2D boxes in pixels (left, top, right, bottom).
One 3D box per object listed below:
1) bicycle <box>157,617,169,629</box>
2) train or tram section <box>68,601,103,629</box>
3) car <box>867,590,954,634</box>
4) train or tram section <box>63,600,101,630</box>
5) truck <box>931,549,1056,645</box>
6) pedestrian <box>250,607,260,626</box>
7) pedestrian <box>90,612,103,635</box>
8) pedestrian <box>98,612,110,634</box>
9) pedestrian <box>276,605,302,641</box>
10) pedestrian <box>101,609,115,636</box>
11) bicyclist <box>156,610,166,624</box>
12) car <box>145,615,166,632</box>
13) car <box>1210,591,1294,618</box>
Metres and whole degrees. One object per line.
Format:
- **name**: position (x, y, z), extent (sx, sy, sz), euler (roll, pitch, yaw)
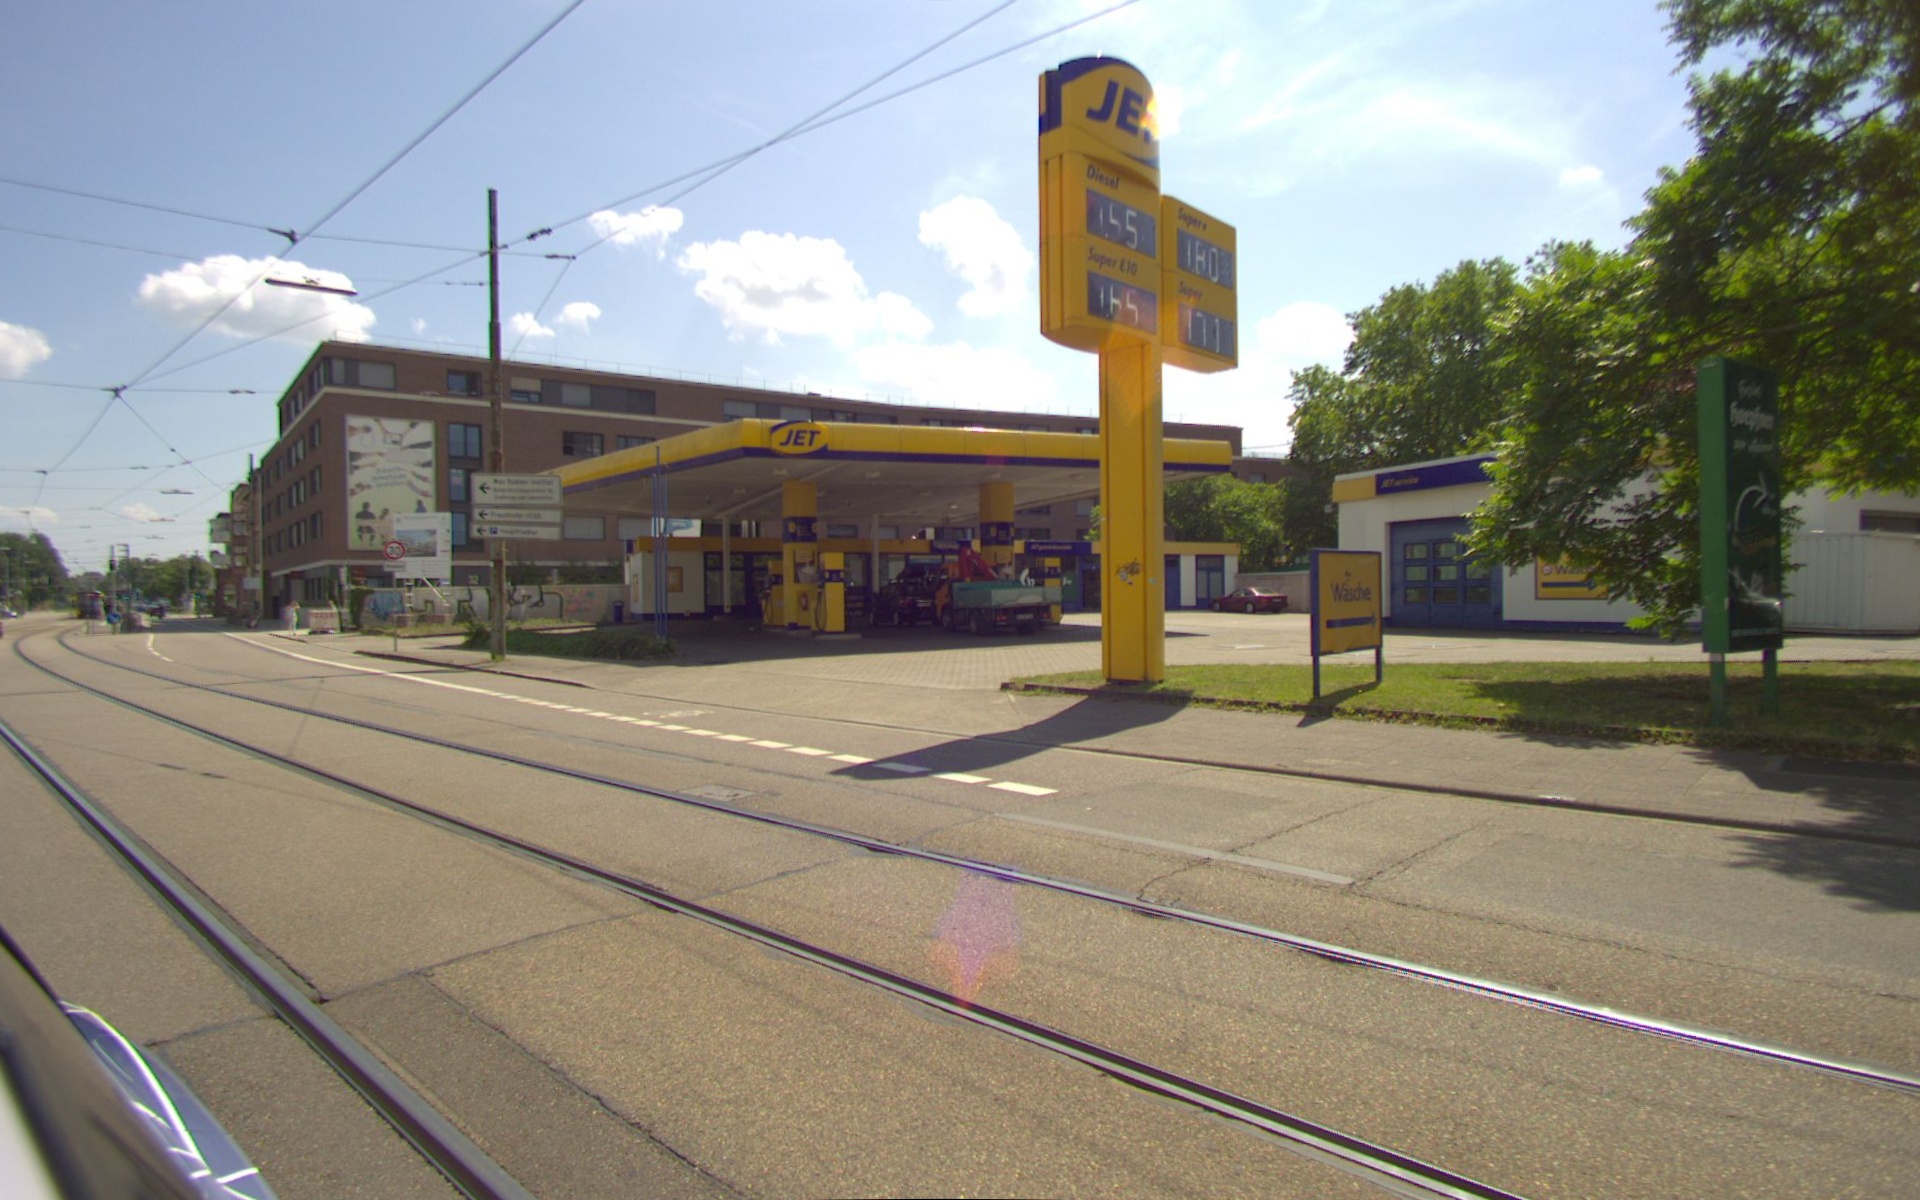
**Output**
- **bicycle**: position (-87.612, 2.533, 111.293), extent (0.807, 1.232, 2.391), euler (0, -1, -44)
- **train or tram section**: position (-121.414, 1.994, 140.724), extent (3.210, 3.594, 20.536), euler (0, 0, -40)
- **car**: position (-1.870, 0.419, 36.523), extent (1.966, 1.490, 4.356), euler (-1, 0, -19)
- **train or tram section**: position (-109.594, 1.807, 126.534), extent (3.194, 3.594, 16.377), euler (0, 0, -40)
- **truck**: position (0.831, -0.100, 29.278), extent (1.966, 2.517, 5.219), euler (-1, 0, -17)
- **pedestrian**: position (-59.553, 1.412, 85.479), extent (0.677, 1.608, 0.762), euler (0, -1, -41)
- **pedestrian**: position (-67.783, 1.833, 79.409), extent (0.750, 1.813, 0.953), euler (0, -1, -41)
- **pedestrian**: position (-67.304, 1.808, 79.564), extent (0.750, 1.707, 0.810), euler (0, -1, -41)
- **pedestrian**: position (-31.936, 1.090, 48.146), extent (0.751, 1.607, 1.000), euler (-5, 3, -45)
- **pedestrian**: position (-56.620, 1.480, 67.254), extent (0.677, 1.773, 1.035), euler (0, -1, -41)
- **bicyclist**: position (-87.763, 1.906, 111.164), extent (1.066, 1.515, 0.749), euler (-1, 0, 44)
- **car**: position (-106.350, 3.096, 133.753), extent (1.992, 2.028, 4.007), euler (-3, 2, -40)
- **car**: position (14.434, 0.212, 50.248), extent (1.728, 1.219, 4.013), euler (-1, 0, -27)
